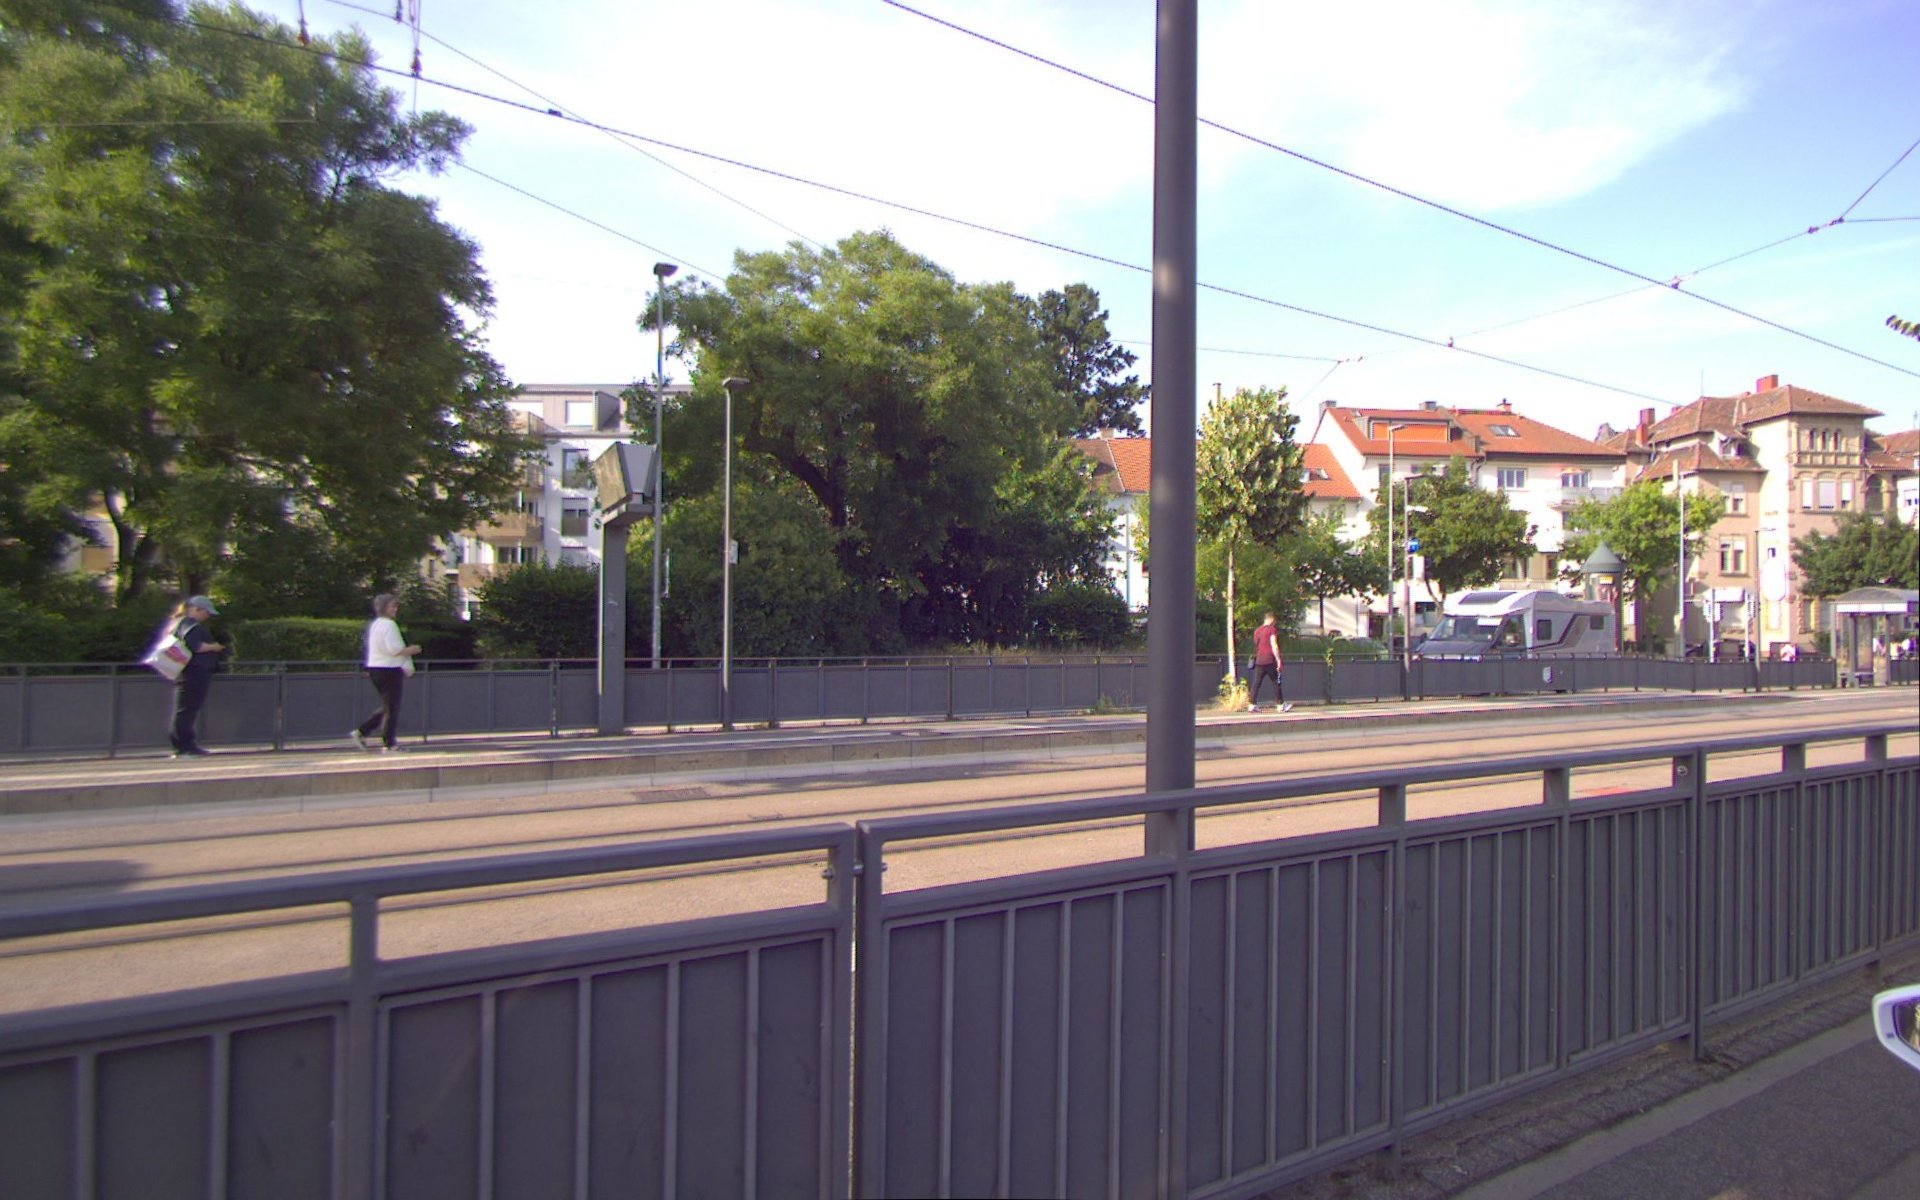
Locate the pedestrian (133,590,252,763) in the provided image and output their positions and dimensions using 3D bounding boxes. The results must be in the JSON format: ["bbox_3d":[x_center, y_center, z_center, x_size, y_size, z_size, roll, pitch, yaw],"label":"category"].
[{"bbox_3d":[-7.788,0.744,10.196,0.656,1.663,0.859,0,-1,44],"label":"pedestrian"}]

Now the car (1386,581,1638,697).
[{"bbox_3d":[14.932,1.003,26.998,7.382,2.771,2.584,1,-1,-31],"label":"car"}]

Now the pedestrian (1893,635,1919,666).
[{"bbox_3d":[55.203,2.954,58.606,0.736,1.776,0.884,1,-1,-26],"label":"pedestrian"}]

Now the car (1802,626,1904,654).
[{"bbox_3d":[55.448,2.489,62.401,4.628,1.649,2.209,1,-1,-6],"label":"car"}]

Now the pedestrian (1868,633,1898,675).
[{"bbox_3d":[40.186,2.324,43.732,0.740,1.776,0.879,1,-1,-40],"label":"pedestrian"}]

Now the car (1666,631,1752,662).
[{"bbox_3d":[46.043,2.819,61.822,1.965,1.773,3.992,1,-1,-11],"label":"car"}]

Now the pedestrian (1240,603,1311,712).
[{"bbox_3d":[5.252,0.945,16.737,0.763,1.756,0.832,1,-2,-29],"label":"pedestrian"}]

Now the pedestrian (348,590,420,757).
[{"bbox_3d":[-6.009,0.753,10.480,0.601,1.663,0.578,1,-3,-34],"label":"pedestrian"}]
